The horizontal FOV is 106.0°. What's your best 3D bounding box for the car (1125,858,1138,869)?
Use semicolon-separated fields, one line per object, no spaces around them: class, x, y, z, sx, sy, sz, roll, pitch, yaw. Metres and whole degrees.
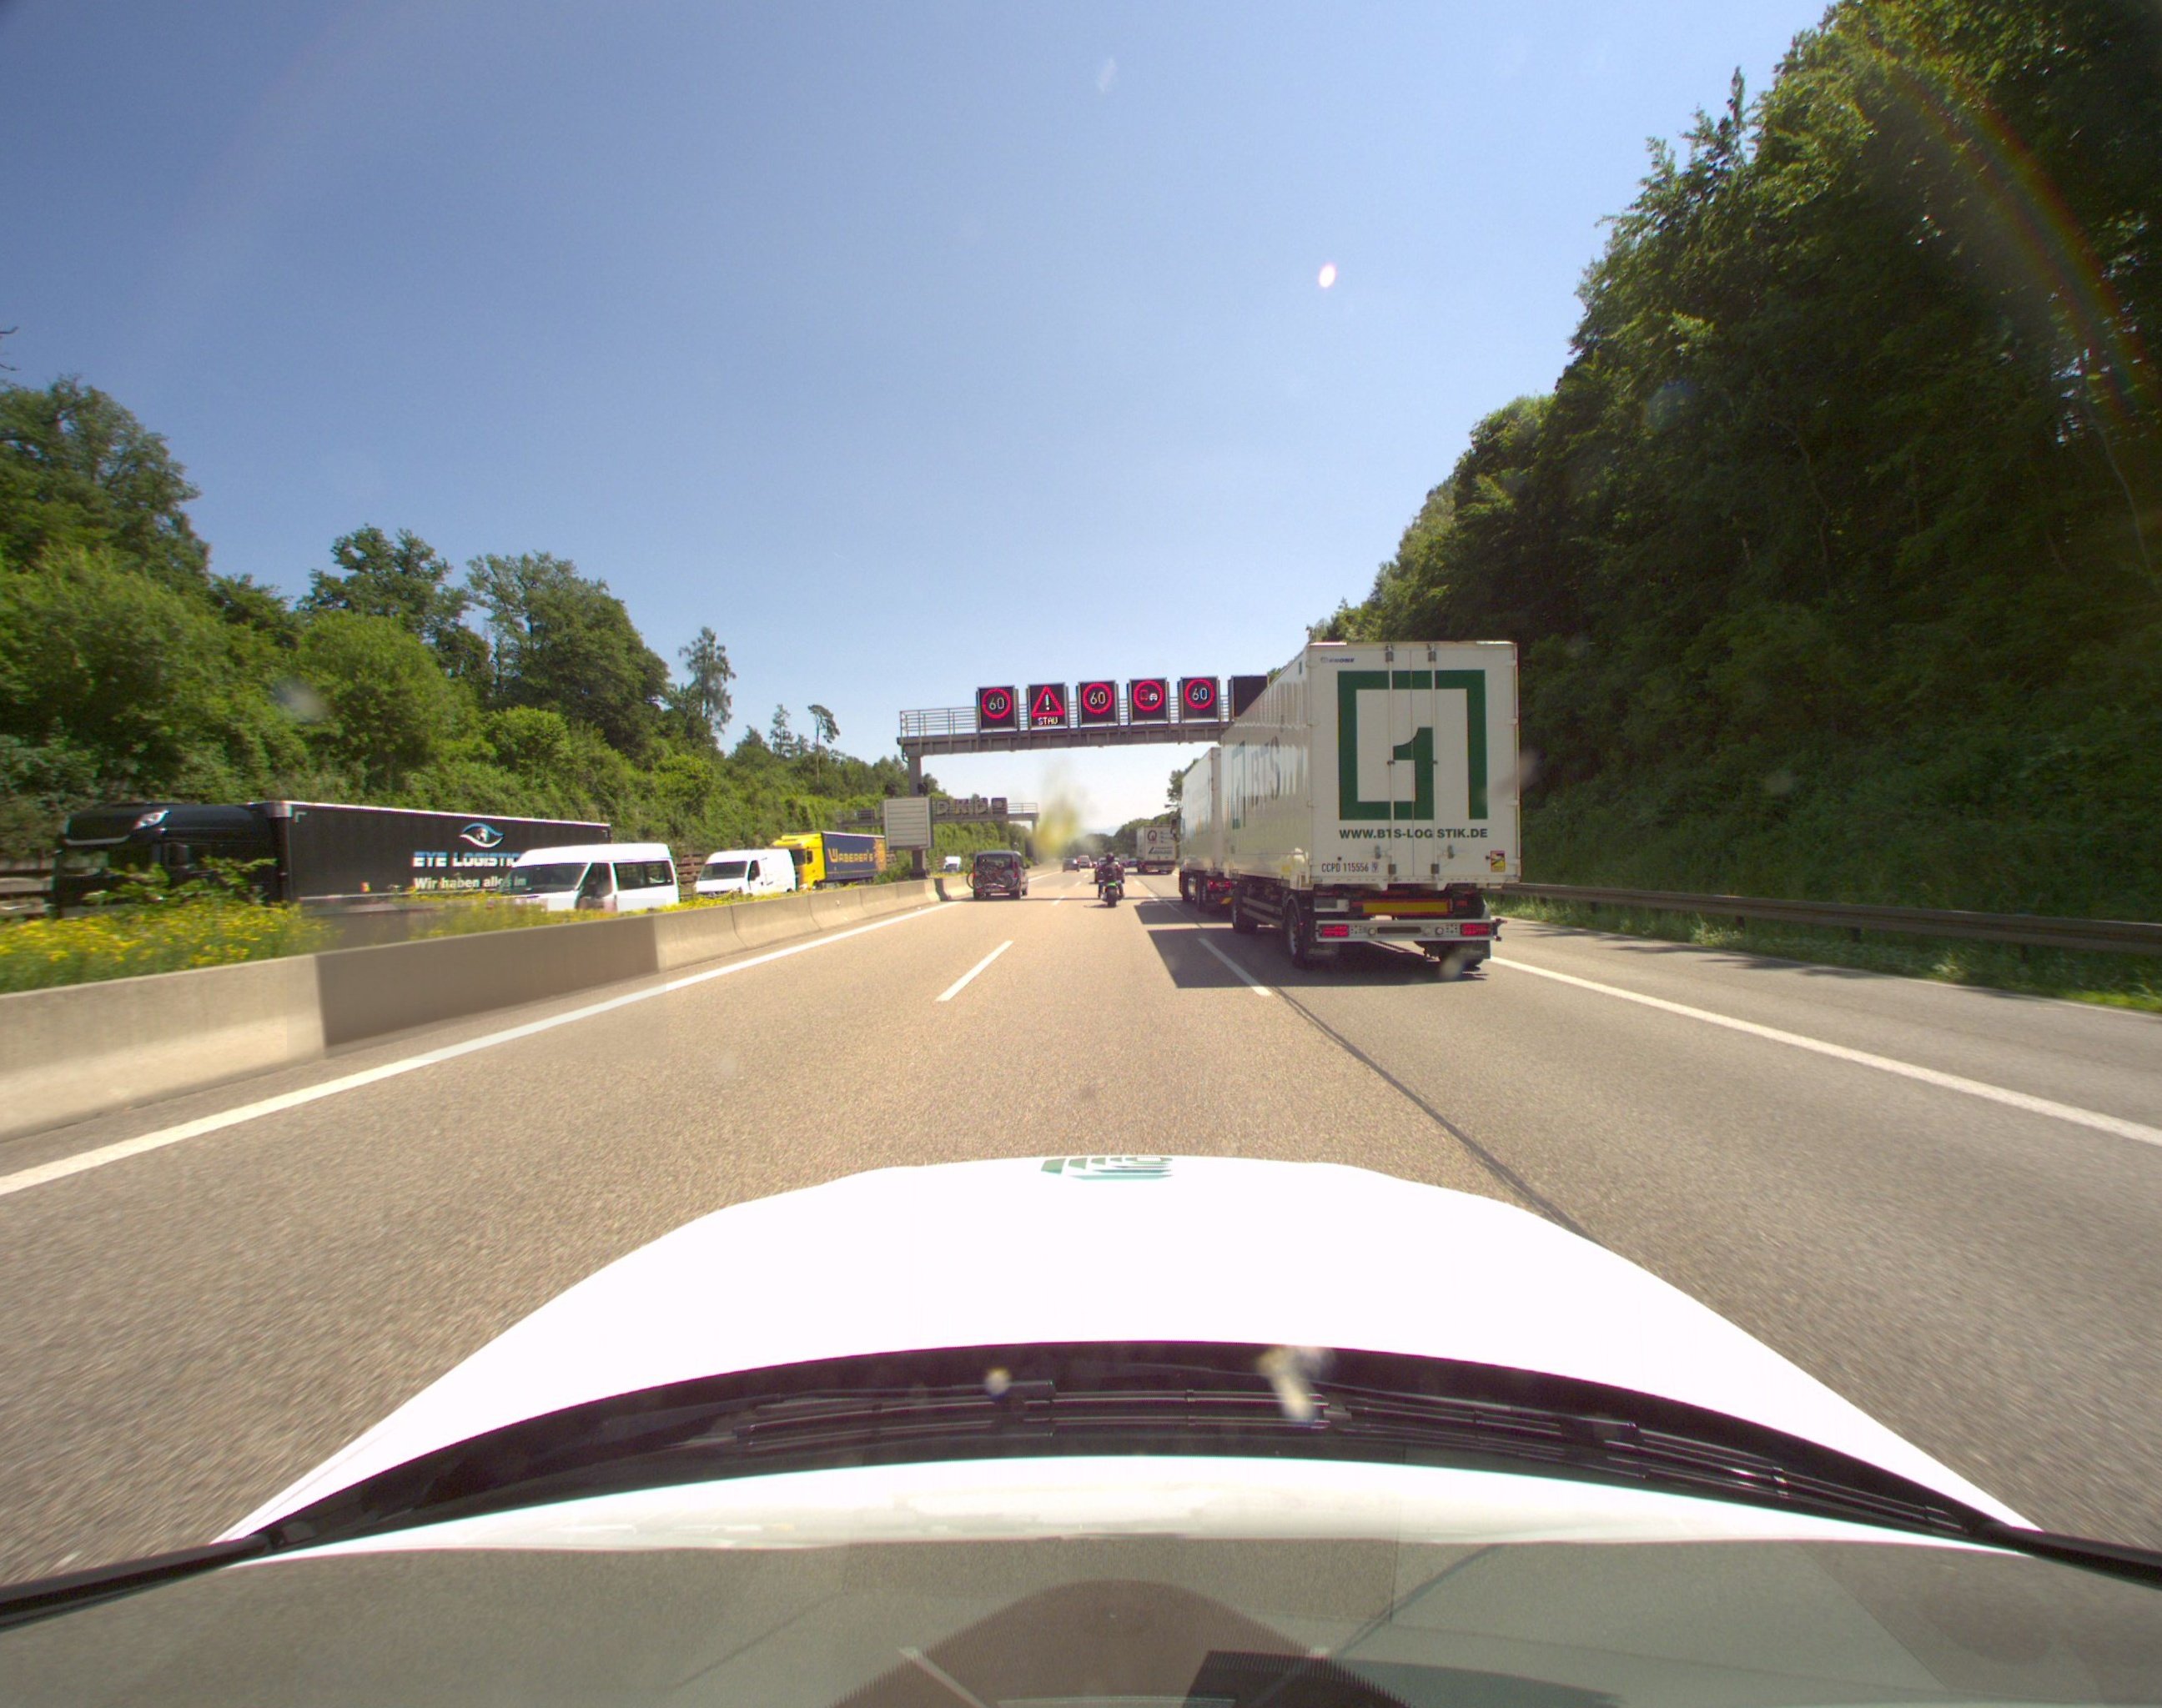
car;7.684;1.414;123.288;1.824;1.527;4.028;-1;0;1

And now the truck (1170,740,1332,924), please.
truck;4.368;-0.480;23.455;2.670;4.059;10.629;-1;0;2

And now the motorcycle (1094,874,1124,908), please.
motorcycle;0.892;1.125;25.320;0.859;0.982;2.132;-1;-1;3

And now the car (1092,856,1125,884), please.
car;1.617;0.923;48.165;1.838;1.557;4.441;-1;0;2

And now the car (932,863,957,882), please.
car;-12.280;1.681;73.437;1.510;1.535;3.551;-3;0;2

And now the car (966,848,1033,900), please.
car;-3.093;0.757;31.853;1.891;1.848;5.484;-1;-1;2

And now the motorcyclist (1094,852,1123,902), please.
motorcyclist;0.865;0.701;25.166;0.852;1.515;0.914;-1;-1;2

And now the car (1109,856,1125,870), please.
car;4.233;1.017;95.340;1.824;1.558;4.121;-1;0;1

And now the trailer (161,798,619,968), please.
trailer;-21.415;0.756;27.557;2.967;4.101;14.000;-4;0;2

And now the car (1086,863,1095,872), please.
car;2.089;3.048;182.161;1.824;1.810;4.121;-1;0;1

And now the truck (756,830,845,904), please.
truck;-17.613;0.788;51.613;2.940;4.202;6.460;-4;0;2

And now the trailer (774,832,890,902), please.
trailer;-17.287;0.807;58.242;2.966;4.207;14.474;-4;0;3

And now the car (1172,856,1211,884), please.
car;6.522;0.890;48.398;1.838;1.557;4.394;-1;0;2

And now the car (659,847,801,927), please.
car;-13.275;1.140;31.371;2.744;2.673;5.686;-3;0;1

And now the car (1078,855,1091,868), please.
car;0.553;1.073;120.213;1.824;1.810;4.121;-1;0;1

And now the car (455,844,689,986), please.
car;-11.092;1.181;18.301;1.991;2.673;4.848;-3;0;2

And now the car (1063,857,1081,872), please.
car;-0.933;1.143;88.492;1.751;1.544;4.396;-1;0;2

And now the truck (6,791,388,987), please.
truck;-21.657;0.770;20.575;2.923;4.059;5.870;-4;0;2

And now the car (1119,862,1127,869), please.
car;10.650;2.884;205.605;1.824;1.527;4.028;-1;0;1

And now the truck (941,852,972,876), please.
truck;-16.199;1.235;106.188;2.570;2.992;7.065;-3;0;2

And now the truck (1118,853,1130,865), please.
truck;12.142;1.396;229.180;3.056;3.346;9.656;0;0;2

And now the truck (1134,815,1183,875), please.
truck;6.702;-0.664;73.280;3.370;4.718;17.716;0;0;2

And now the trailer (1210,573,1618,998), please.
trailer;4.081;-0.662;13.088;2.670;4.176;10.068;-1;0;2
